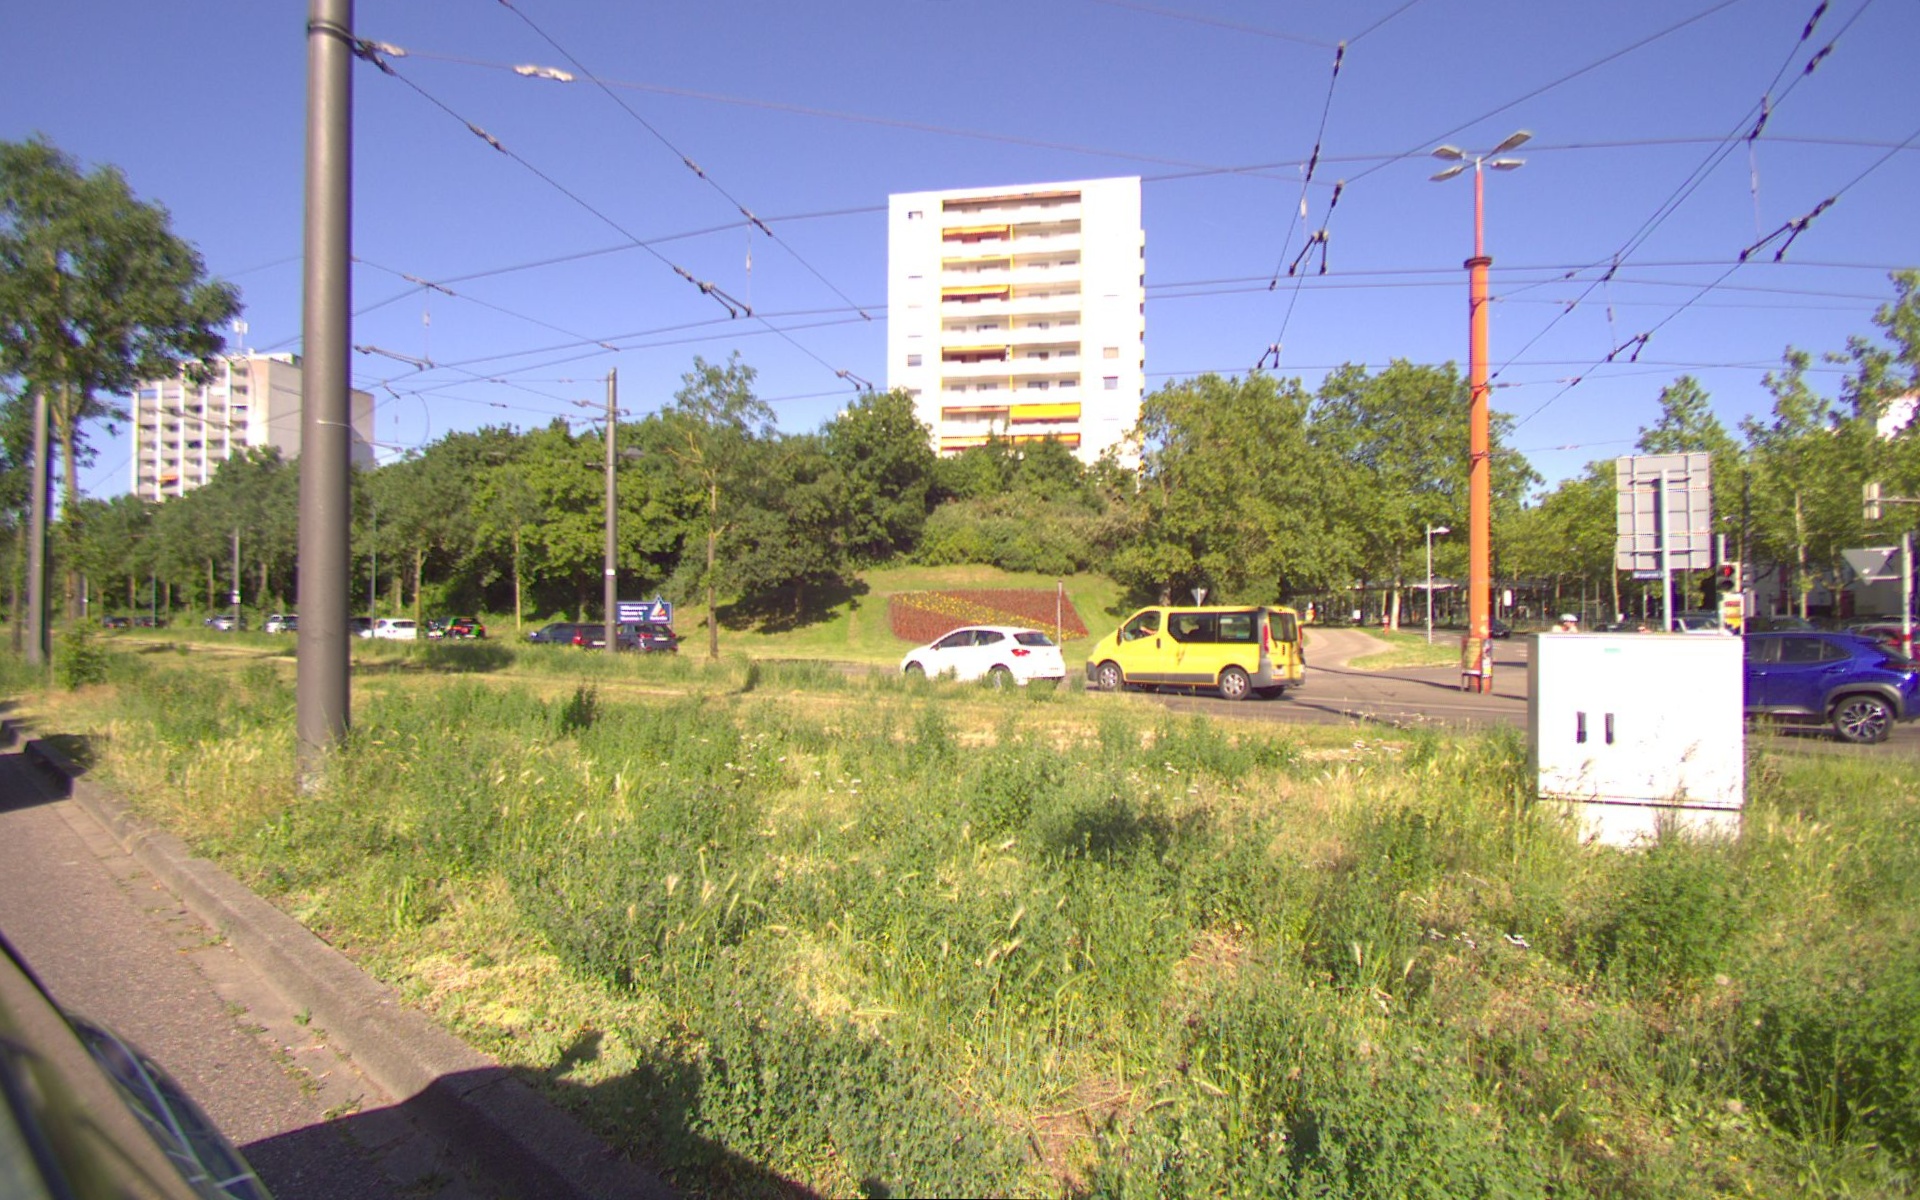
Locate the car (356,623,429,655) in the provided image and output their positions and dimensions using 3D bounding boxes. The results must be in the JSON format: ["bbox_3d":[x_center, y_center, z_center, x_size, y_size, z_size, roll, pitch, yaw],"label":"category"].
[{"bbox_3d":[-26.405,1.767,47.033,4.000,1.429,1.842,-1,-2,43],"label":"car"}]

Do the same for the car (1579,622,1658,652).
[{"bbox_3d":[32.107,1.787,49.472,1.747,1.360,4.345,0,-1,12],"label":"car"}]

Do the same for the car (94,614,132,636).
[{"bbox_3d":[-70.836,2.056,84.643,3.998,1.779,1.858,-1,-2,41],"label":"car"}]

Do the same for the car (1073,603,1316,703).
[{"bbox_3d":[5.087,1.124,22.394,4.905,1.981,1.972,-2,-3,42],"label":"car"}]

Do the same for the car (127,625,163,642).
[{"bbox_3d":[-72.254,2.970,89.716,3.998,1.475,1.779,-1,-2,41],"label":"car"}]

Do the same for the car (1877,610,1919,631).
[{"bbox_3d":[64.894,1.396,68.411,1.770,1.420,4.010,1,-1,-36],"label":"car"}]

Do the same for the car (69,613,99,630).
[{"bbox_3d":[-93.099,2.250,107.532,3.998,1.779,1.858,-1,-2,41],"label":"car"}]

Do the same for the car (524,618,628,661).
[{"bbox_3d":[-13.584,1.361,35.687,4.311,1.427,1.775,-1,-2,44],"label":"car"}]

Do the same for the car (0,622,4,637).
[{"bbox_3d":[-116.265,3.531,120.993,3.985,1.674,1.890,-1,-2,31],"label":"car"}]

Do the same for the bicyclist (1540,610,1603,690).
[{"bbox_3d":[12.189,0.989,20.174,0.719,1.557,0.770,0,-2,-20],"label":"bicyclist"}]

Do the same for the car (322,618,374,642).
[{"bbox_3d":[-36.357,1.757,60.059,4.001,1.386,1.717,-1,-2,44],"label":"car"}]

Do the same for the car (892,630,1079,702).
[{"bbox_3d":[0.493,1.387,22.387,4.020,1.418,1.671,-1,-2,42],"label":"car"}]

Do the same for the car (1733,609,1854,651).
[{"bbox_3d":[32.790,1.172,39.977,1.838,1.557,4.247,0,-1,11],"label":"car"}]

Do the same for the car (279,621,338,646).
[{"bbox_3d":[-36.552,1.860,56.721,4.229,1.371,1.801,-1,-2,43],"label":"car"}]

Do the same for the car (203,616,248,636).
[{"bbox_3d":[-56.222,1.967,77.479,3.998,1.497,1.972,-1,-2,41],"label":"car"}]

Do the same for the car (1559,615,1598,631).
[{"bbox_3d":[79.781,2.990,130.616,3.969,2.029,1.987,-1,-1,20],"label":"car"}]

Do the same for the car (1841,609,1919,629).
[{"bbox_3d":[65.883,1.374,72.393,1.770,1.420,4.010,1,-1,-36],"label":"car"}]

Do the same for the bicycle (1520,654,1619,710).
[{"bbox_3d":[12.159,1.620,20.250,0.673,0.968,1.650,0,0,-20],"label":"bicycle"}]

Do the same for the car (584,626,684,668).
[{"bbox_3d":[-12.524,1.759,38.765,4.239,1.519,1.769,-1,-2,41],"label":"car"}]

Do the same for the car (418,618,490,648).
[{"bbox_3d":[-25.414,1.634,50.785,3.998,1.429,1.843,-1,-2,41],"label":"car"}]

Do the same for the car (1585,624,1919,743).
[{"bbox_3d":[12.117,1.160,15.469,4.105,1.586,1.973,-1,-2,41],"label":"car"}]

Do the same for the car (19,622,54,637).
[{"bbox_3d":[-106.851,3.402,117.045,3.984,1.674,1.891,-1,-2,30],"label":"car"}]

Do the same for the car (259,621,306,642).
[{"bbox_3d":[-46.111,2.139,68.838,4.000,1.409,1.822,-1,-2,43],"label":"car"}]

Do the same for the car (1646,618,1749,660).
[{"bbox_3d":[30.123,1.558,41.498,1.810,1.648,4.236,0,-1,12],"label":"car"}]

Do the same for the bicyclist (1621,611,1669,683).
[{"bbox_3d":[13.420,0.918,19.837,0.435,1.391,0.631,0,-2,-20],"label":"bicyclist"}]

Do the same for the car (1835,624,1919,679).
[{"bbox_3d":[26.691,1.412,28.180,1.668,1.446,4.050,0,-1,11],"label":"car"}]

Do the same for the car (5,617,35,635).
[{"bbox_3d":[-97.711,2.684,105.214,3.998,1.779,1.858,-1,-2,41],"label":"car"}]

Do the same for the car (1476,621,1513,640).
[{"bbox_3d":[38.736,2.181,73.427,1.752,1.360,4.334,-1,-1,20],"label":"car"}]
